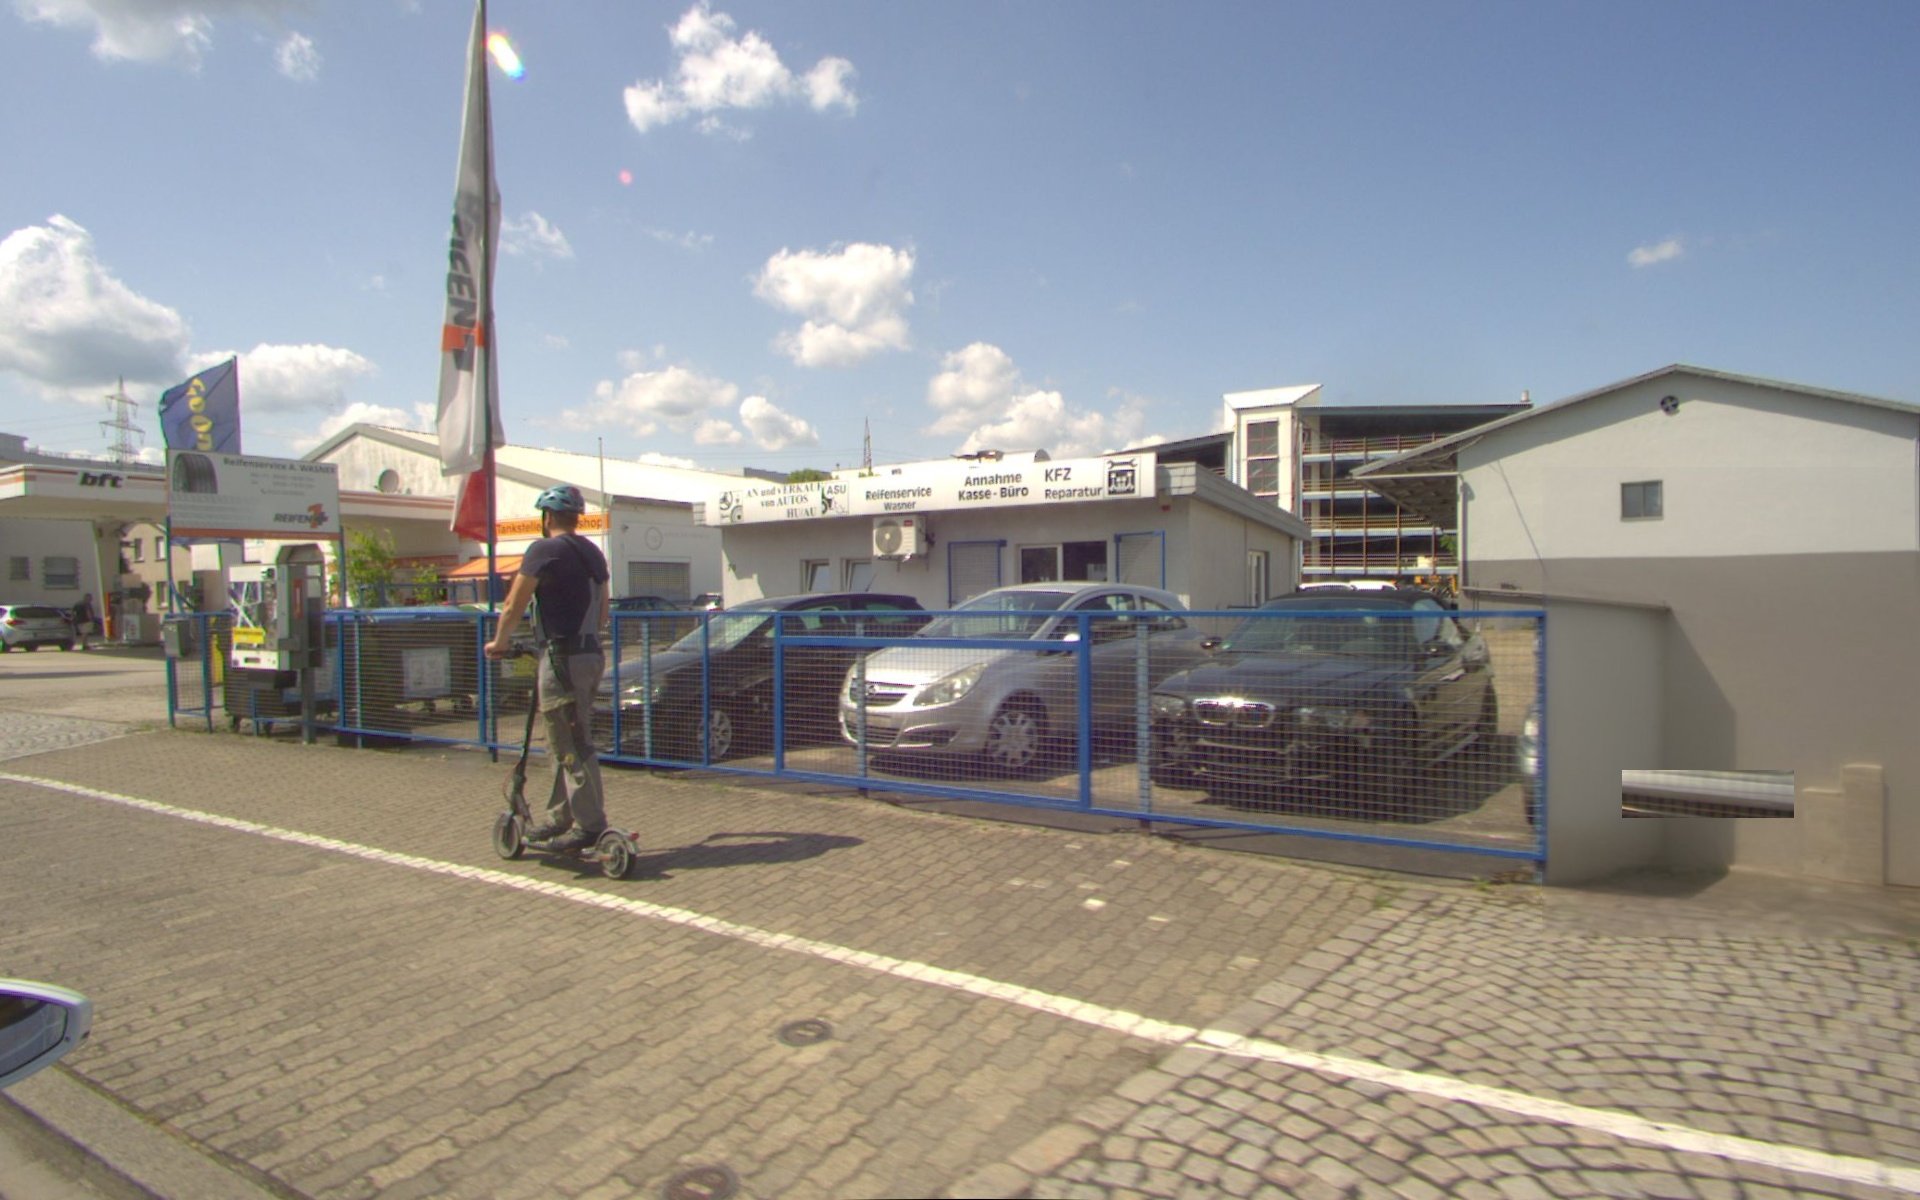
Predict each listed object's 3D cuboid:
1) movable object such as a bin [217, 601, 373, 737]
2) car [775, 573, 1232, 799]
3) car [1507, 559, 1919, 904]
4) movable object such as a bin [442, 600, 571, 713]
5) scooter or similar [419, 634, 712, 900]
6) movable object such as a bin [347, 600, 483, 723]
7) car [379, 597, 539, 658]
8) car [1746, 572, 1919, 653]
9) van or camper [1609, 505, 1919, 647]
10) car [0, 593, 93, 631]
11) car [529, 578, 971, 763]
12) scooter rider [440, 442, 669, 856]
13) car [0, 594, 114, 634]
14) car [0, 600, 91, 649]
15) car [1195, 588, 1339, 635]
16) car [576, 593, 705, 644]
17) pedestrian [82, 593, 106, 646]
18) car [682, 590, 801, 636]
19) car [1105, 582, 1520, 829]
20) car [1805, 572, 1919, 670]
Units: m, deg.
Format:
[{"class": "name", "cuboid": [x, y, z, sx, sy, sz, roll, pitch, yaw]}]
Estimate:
[{"class": "movable object such as a bin", "cuboid": [-7.773, 0.768, 11.745, 0.812, 1.464, 1.253, -1, 1, 31]}, {"class": "car", "cuboid": [0.551, 0.554, 8.721, 3.960, 1.516, 1.733, -1, 1, -44]}, {"class": "car", "cuboid": [4.793, 0.530, 6.251, 1.797, 1.450, 4.167, -1, 1, 38]}, {"class": "movable object such as a bin", "cuboid": [-6.324, 0.754, 14.024, 0.939, 1.464, 1.320, -1, 1, 24]}, {"class": "scooter or similar", "cuboid": [-2.111, 0.804, 5.306, 1.587, 1.211, 0.539, -1, 3, 31]}, {"class": "movable object such as a bin", "cuboid": [-6.979, 0.749, 12.871, 0.812, 1.464, 1.253, -1, 1, 31]}, {"class": "car", "cuboid": [-12.806, 0.665, 25.762, 1.588, 1.379, 3.313, -1, 1, 31]}, {"class": "car", "cuboid": [17.110, 0.204, 18.251, 4.118, 1.407, 1.919, -1, 1, 30]}, {"class": "van or camper", "cuboid": [17.368, -0.446, 22.025, 4.984, 2.810, 2.305, -1, 1, 28]}, {"class": "car", "cuboid": [-43.748, 0.569, 47.122, 1.936, 1.671, 3.980, -1, 1, 30]}, {"class": "car", "cuboid": [-1.918, 0.539, 9.890, 3.957, 1.462, 1.695, -1, 1, -42]}, {"class": "scooter rider", "cuboid": [-2.130, 0.230, 5.307, 0.774, 1.991, 0.715, 0, 4, 31]}, {"class": "car", "cuboid": [-41.600, 0.601, 45.825, 1.936, 1.671, 3.980, -1, 1, 30]}, {"class": "car", "cuboid": [-30.091, 0.791, 32.206, 3.939, 1.439, 1.956, -1, 1, 29]}, {"class": "car", "cuboid": [9.884, 0.380, 32.231, 4.118, 1.407, 1.919, -1, 1, 30]}, {"class": "car", "cuboid": [-9.546, 0.526, 30.146, 1.588, 1.379, 3.489, -1, 1, 31]}, {"class": "pedestrian", "cuboid": [-27.947, 0.627, 32.311, 0.478, 1.712, 0.395, 0, 2, 32]}, {"class": "car", "cuboid": [-7.359, 0.408, 34.105, 1.589, 1.407, 3.999, -1, 1, 32]}, {"class": "car", "cuboid": [2.914, 0.573, 7.704, 1.798, 1.374, 3.969, -1, 1, 39]}, {"class": "car", "cuboid": [15.583, 0.282, 15.055, 4.118, 1.435, 1.750, -1, 1, 30]}]
